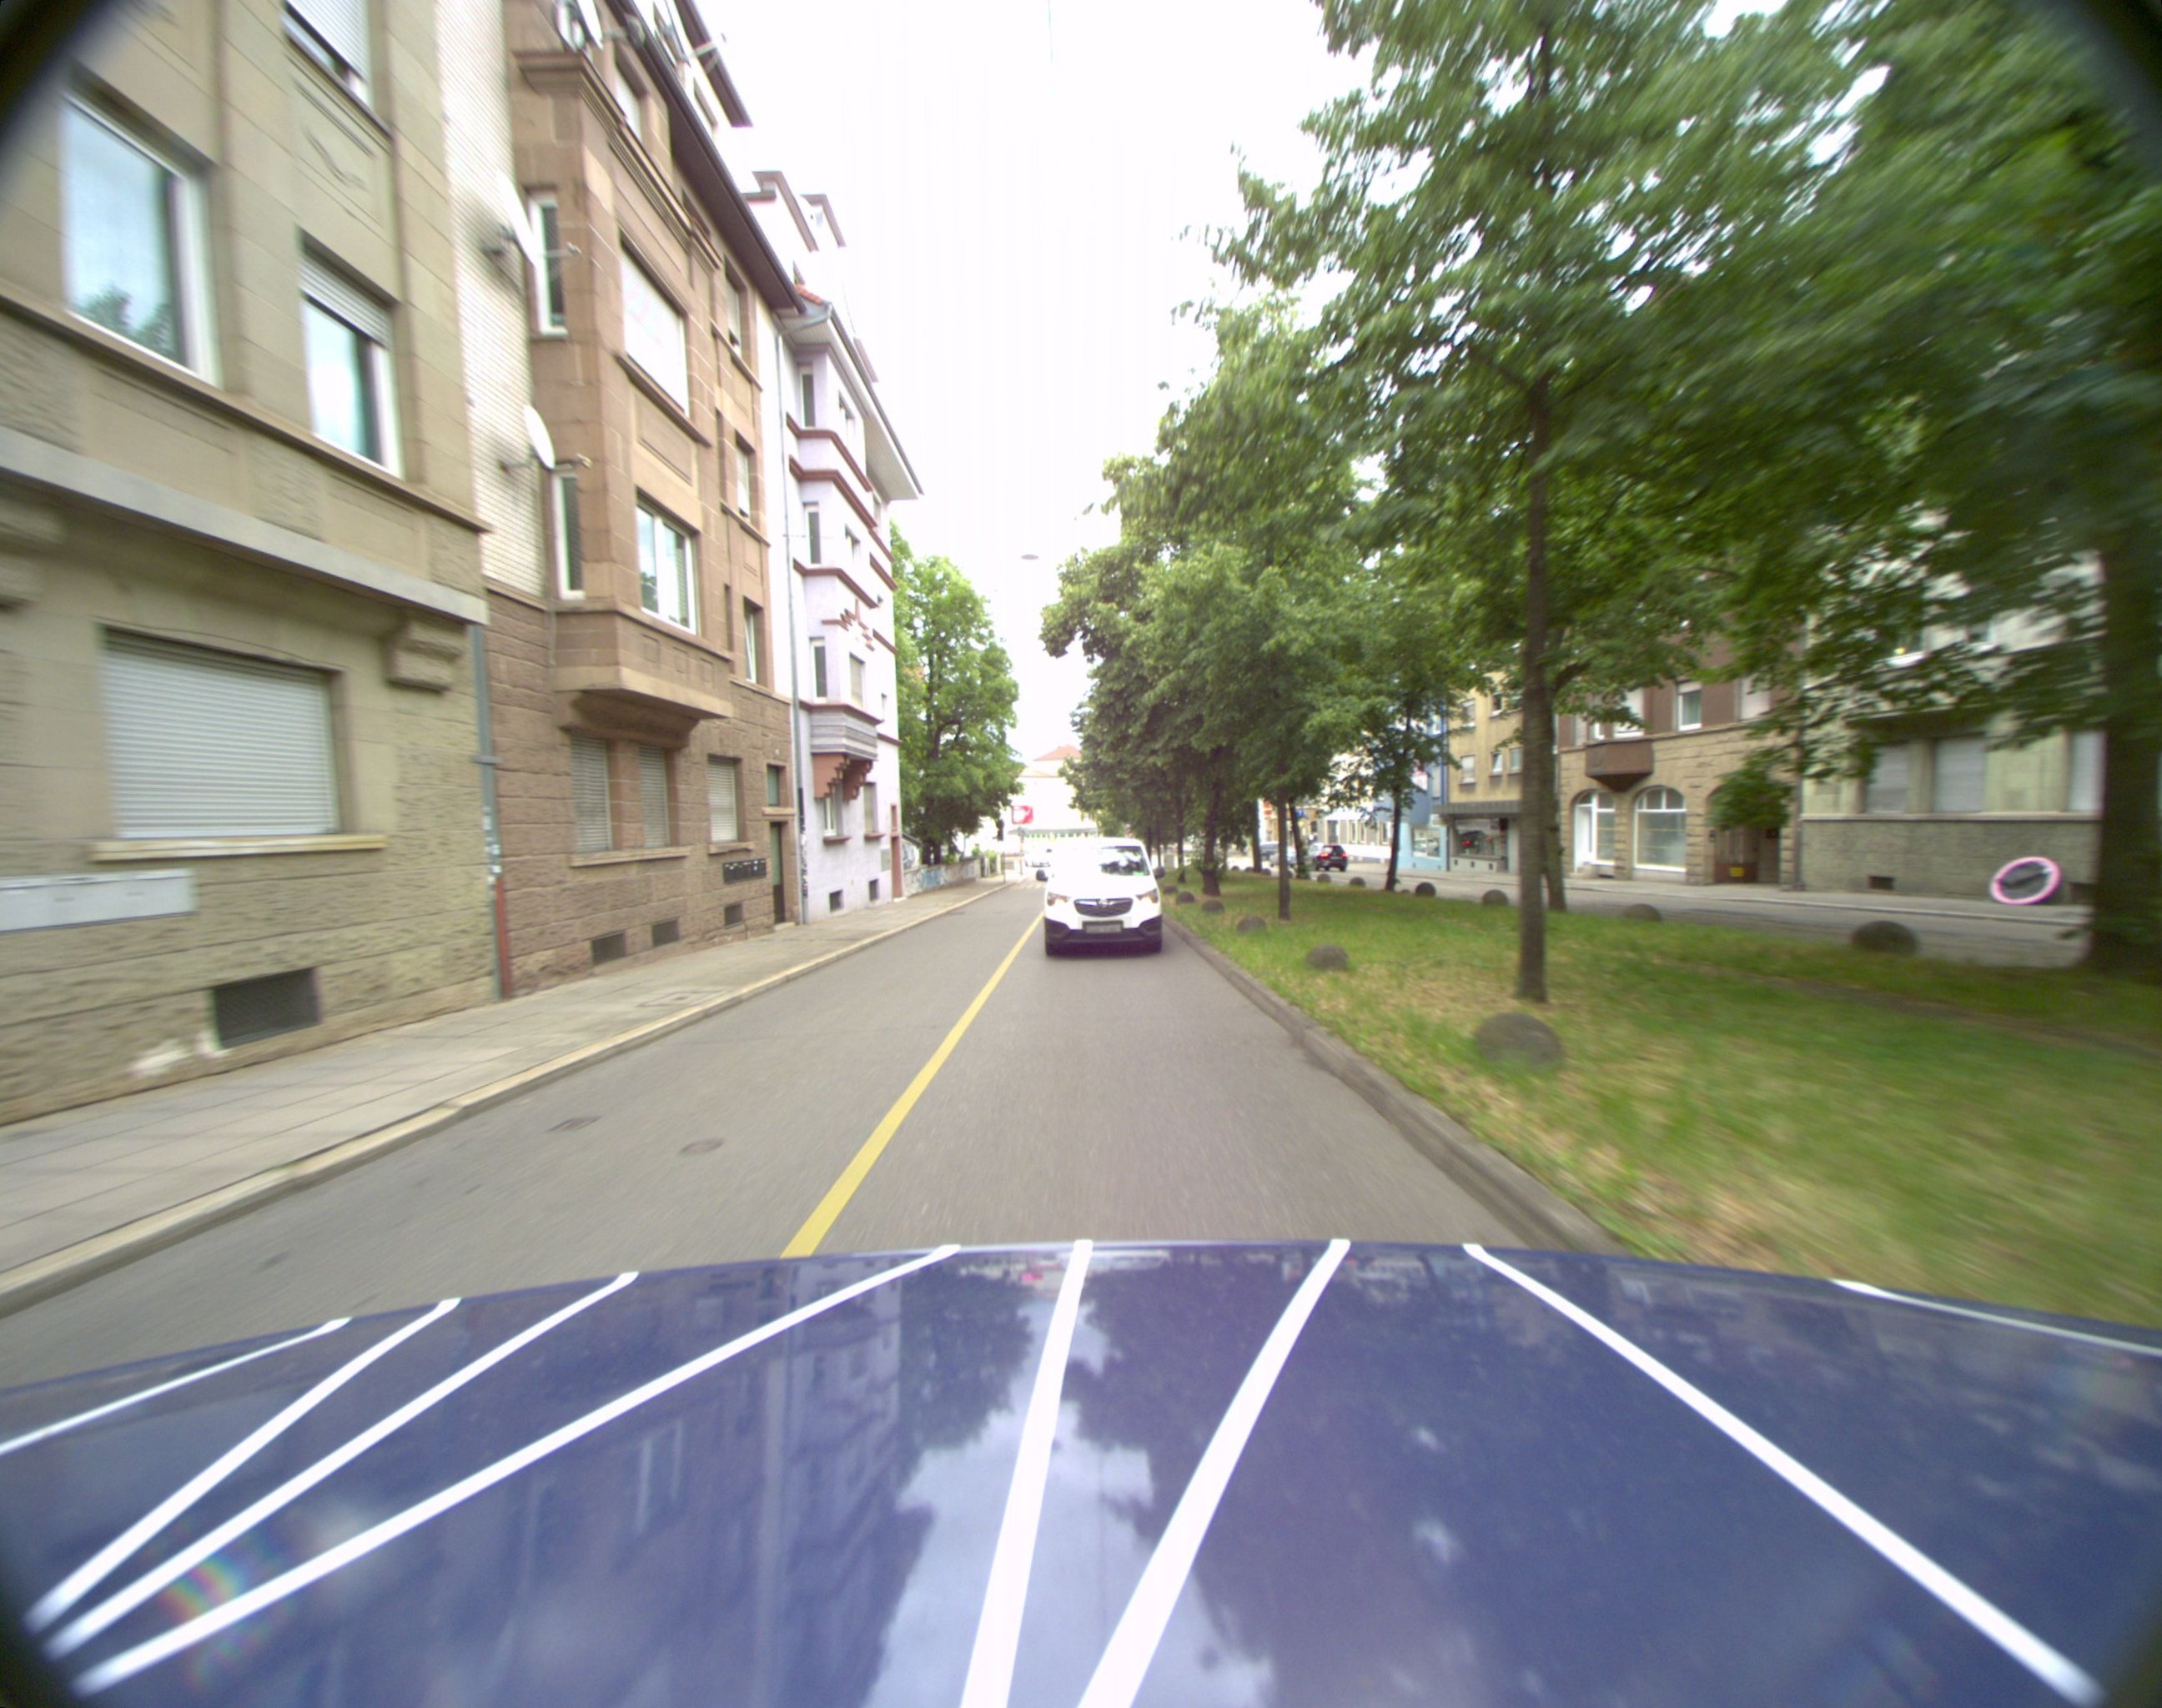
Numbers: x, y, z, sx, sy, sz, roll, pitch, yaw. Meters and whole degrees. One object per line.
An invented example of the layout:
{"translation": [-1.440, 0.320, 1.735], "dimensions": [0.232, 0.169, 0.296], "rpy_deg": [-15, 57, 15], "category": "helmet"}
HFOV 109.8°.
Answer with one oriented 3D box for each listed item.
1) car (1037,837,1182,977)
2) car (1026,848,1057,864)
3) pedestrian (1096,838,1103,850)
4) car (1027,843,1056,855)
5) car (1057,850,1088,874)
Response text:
{"translation": [0.498, 0.706, 12.165], "dimensions": [1.857, 1.798, 4.730], "rpy_deg": [-1, 0, 3], "category": "car"}
{"translation": [-3.962, 0.210, 75.881], "dimensions": [1.956, 1.541, 4.028], "rpy_deg": [-3, 1, -20], "category": "car"}
{"translation": [2.496, -1.324, 101.688], "dimensions": [0.607, 1.610, 0.553], "rpy_deg": [-5, 4, -35], "category": "pedestrian"}
{"translation": [-5.179, -0.637, 99.192], "dimensions": [1.799, 1.422, 3.951], "rpy_deg": [-5, 3, -34], "category": "car"}
{"translation": [-0.647, 0.529, 53.978], "dimensions": [2.038, 1.541, 4.034], "rpy_deg": [-3, 0, -1], "category": "car"}
